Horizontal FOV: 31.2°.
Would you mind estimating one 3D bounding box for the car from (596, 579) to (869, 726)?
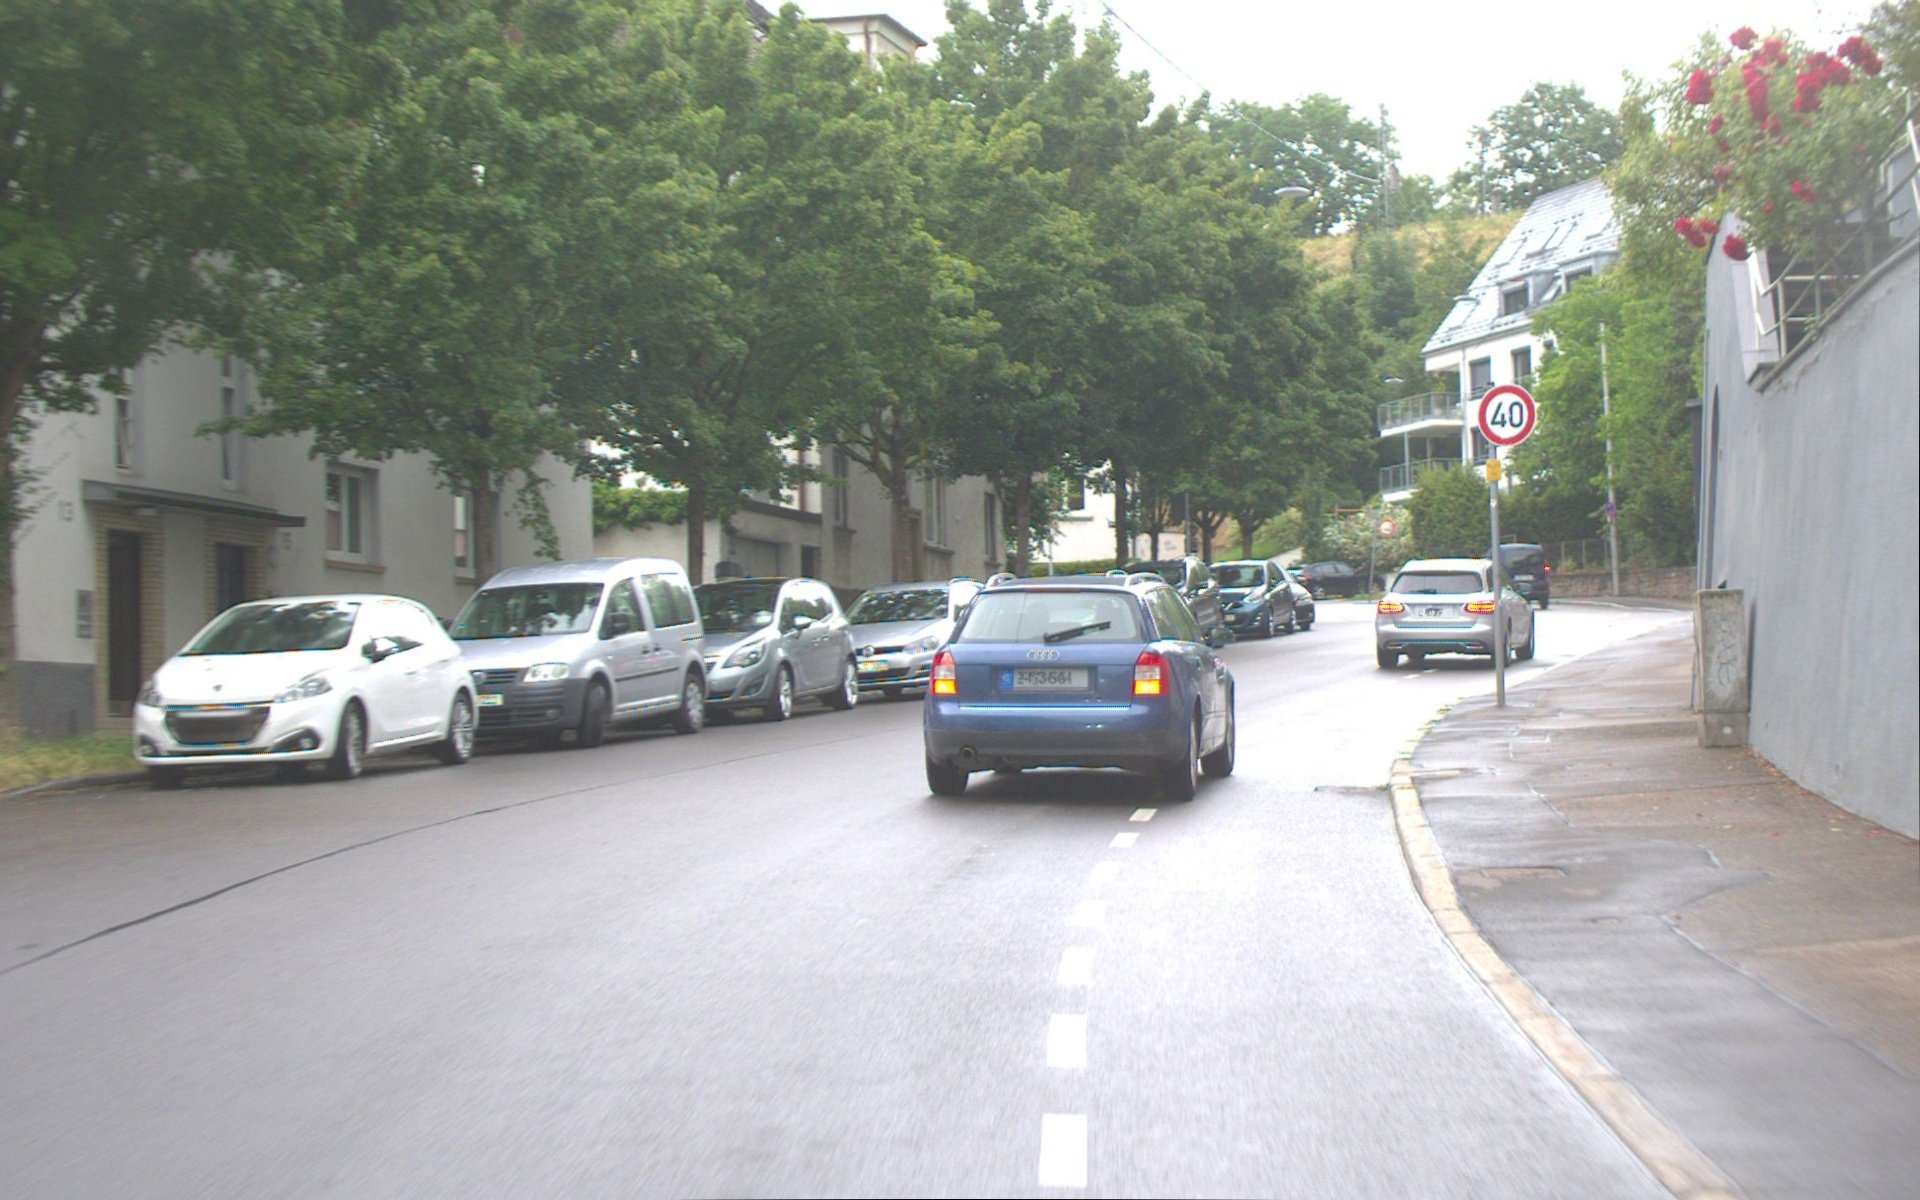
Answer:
[{"bbox_3d":[-2.496,0.576,38.788,1.806,1.481,4.233,-3,-1,14],"label":"car"}]

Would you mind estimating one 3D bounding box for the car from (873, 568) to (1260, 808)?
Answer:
[{"bbox_3d":[0.828,0.525,23.187,1.855,1.409,4.359,-1,1,12],"label":"car"}]

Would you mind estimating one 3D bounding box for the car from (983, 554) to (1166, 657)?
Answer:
[{"bbox_3d":[1.860,0.104,54.260,1.806,1.547,4.796,0,0,15],"label":"car"}]

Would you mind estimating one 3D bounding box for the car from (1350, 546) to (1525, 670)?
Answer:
[{"bbox_3d":[6.657,0.074,47.624,1.951,1.556,4.261,2,2,13],"label":"car"}]

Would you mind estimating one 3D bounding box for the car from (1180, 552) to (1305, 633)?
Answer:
[{"bbox_3d":[5.597,-0.175,67.771,1.714,1.457,3.878,1,2,16],"label":"car"}]

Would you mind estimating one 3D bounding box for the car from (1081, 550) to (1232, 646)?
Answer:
[{"bbox_3d":[3.485,-0.046,60.352,1.806,1.621,4.136,0,0,15],"label":"car"}]

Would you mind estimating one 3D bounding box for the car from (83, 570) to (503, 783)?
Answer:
[{"bbox_3d":[-5.320,0.607,28.028,1.785,1.509,4.343,-4,-1,11],"label":"car"}]

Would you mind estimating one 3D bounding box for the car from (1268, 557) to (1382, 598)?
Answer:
[{"bbox_3d":[13.974,-0.860,131.498,4.169,1.503,1.740,-1,0,-34],"label":"car"}]

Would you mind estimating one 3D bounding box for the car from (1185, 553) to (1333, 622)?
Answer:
[{"bbox_3d":[6.263,-0.250,72.494,1.993,1.386,4.198,-1,0,-11],"label":"car"}]

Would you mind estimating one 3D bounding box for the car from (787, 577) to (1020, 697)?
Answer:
[{"bbox_3d":[-0.657,0.466,43.901,1.806,1.448,4.593,0,0,15],"label":"car"}]

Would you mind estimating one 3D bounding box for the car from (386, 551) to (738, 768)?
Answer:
[{"bbox_3d":[-3.831,0.565,33.977,1.915,1.994,4.545,0,0,15],"label":"car"}]

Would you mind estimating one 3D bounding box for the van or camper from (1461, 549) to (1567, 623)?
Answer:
[{"bbox_3d":[15.762,-0.373,97.959,1.993,2.007,4.000,0,-1,-6],"label":"van or camper"}]
